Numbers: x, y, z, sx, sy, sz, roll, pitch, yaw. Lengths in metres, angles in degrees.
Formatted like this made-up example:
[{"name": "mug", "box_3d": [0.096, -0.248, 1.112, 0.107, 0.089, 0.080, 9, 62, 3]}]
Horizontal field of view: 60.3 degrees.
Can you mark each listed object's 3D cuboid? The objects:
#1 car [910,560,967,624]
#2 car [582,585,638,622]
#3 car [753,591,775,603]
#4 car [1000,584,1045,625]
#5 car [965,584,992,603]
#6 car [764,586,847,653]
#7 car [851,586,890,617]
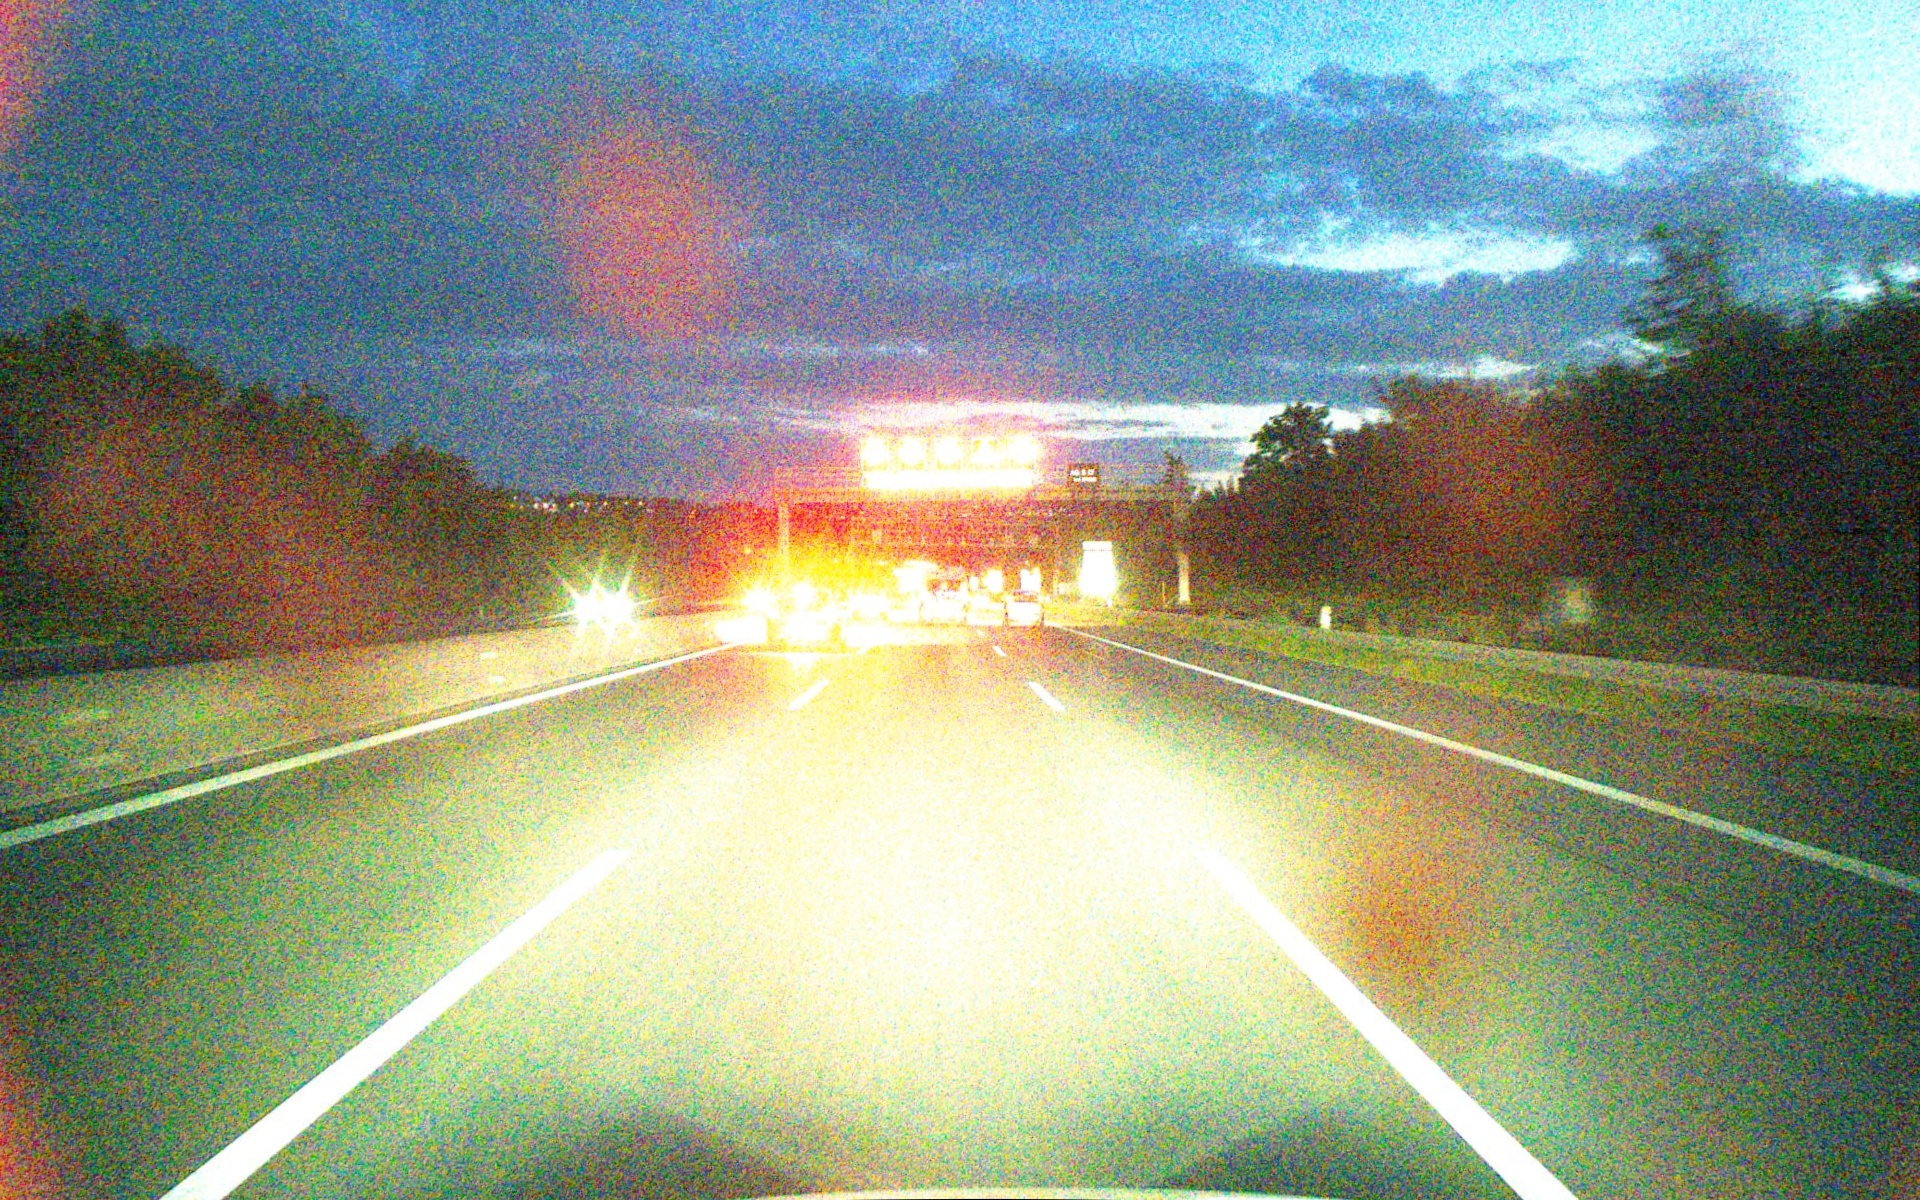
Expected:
[{"name": "car", "box_3d": [-0.911, -0.374, 70.296, 2.303, 2.579, 5.700, -1, 1, -1]}, {"name": "car", "box_3d": [-16.479, 0.147, 78.094, 1.865, 1.646, 4.402, -1, 0, -2]}, {"name": "car", "box_3d": [-21.739, -0.326, 183.522, 1.864, 1.305, 4.349, -1, 0, -1]}, {"name": "car", "box_3d": [2.587, 0.180, 69.402, 1.613, 1.624, 4.508, 1, 0, -2]}, {"name": "car", "box_3d": [1.522, -0.533, 135.518, 2.119, 1.591, 4.722, 0, 0, -1]}, {"name": "car", "box_3d": [-3.651, 0.426, 39.627, 1.758, 1.494, 3.771, 1, 1, -3]}, {"name": "car", "box_3d": [-4.383, 0.048, 81.540, 1.709, 1.465, 4.367, -1, 1, -1]}]
